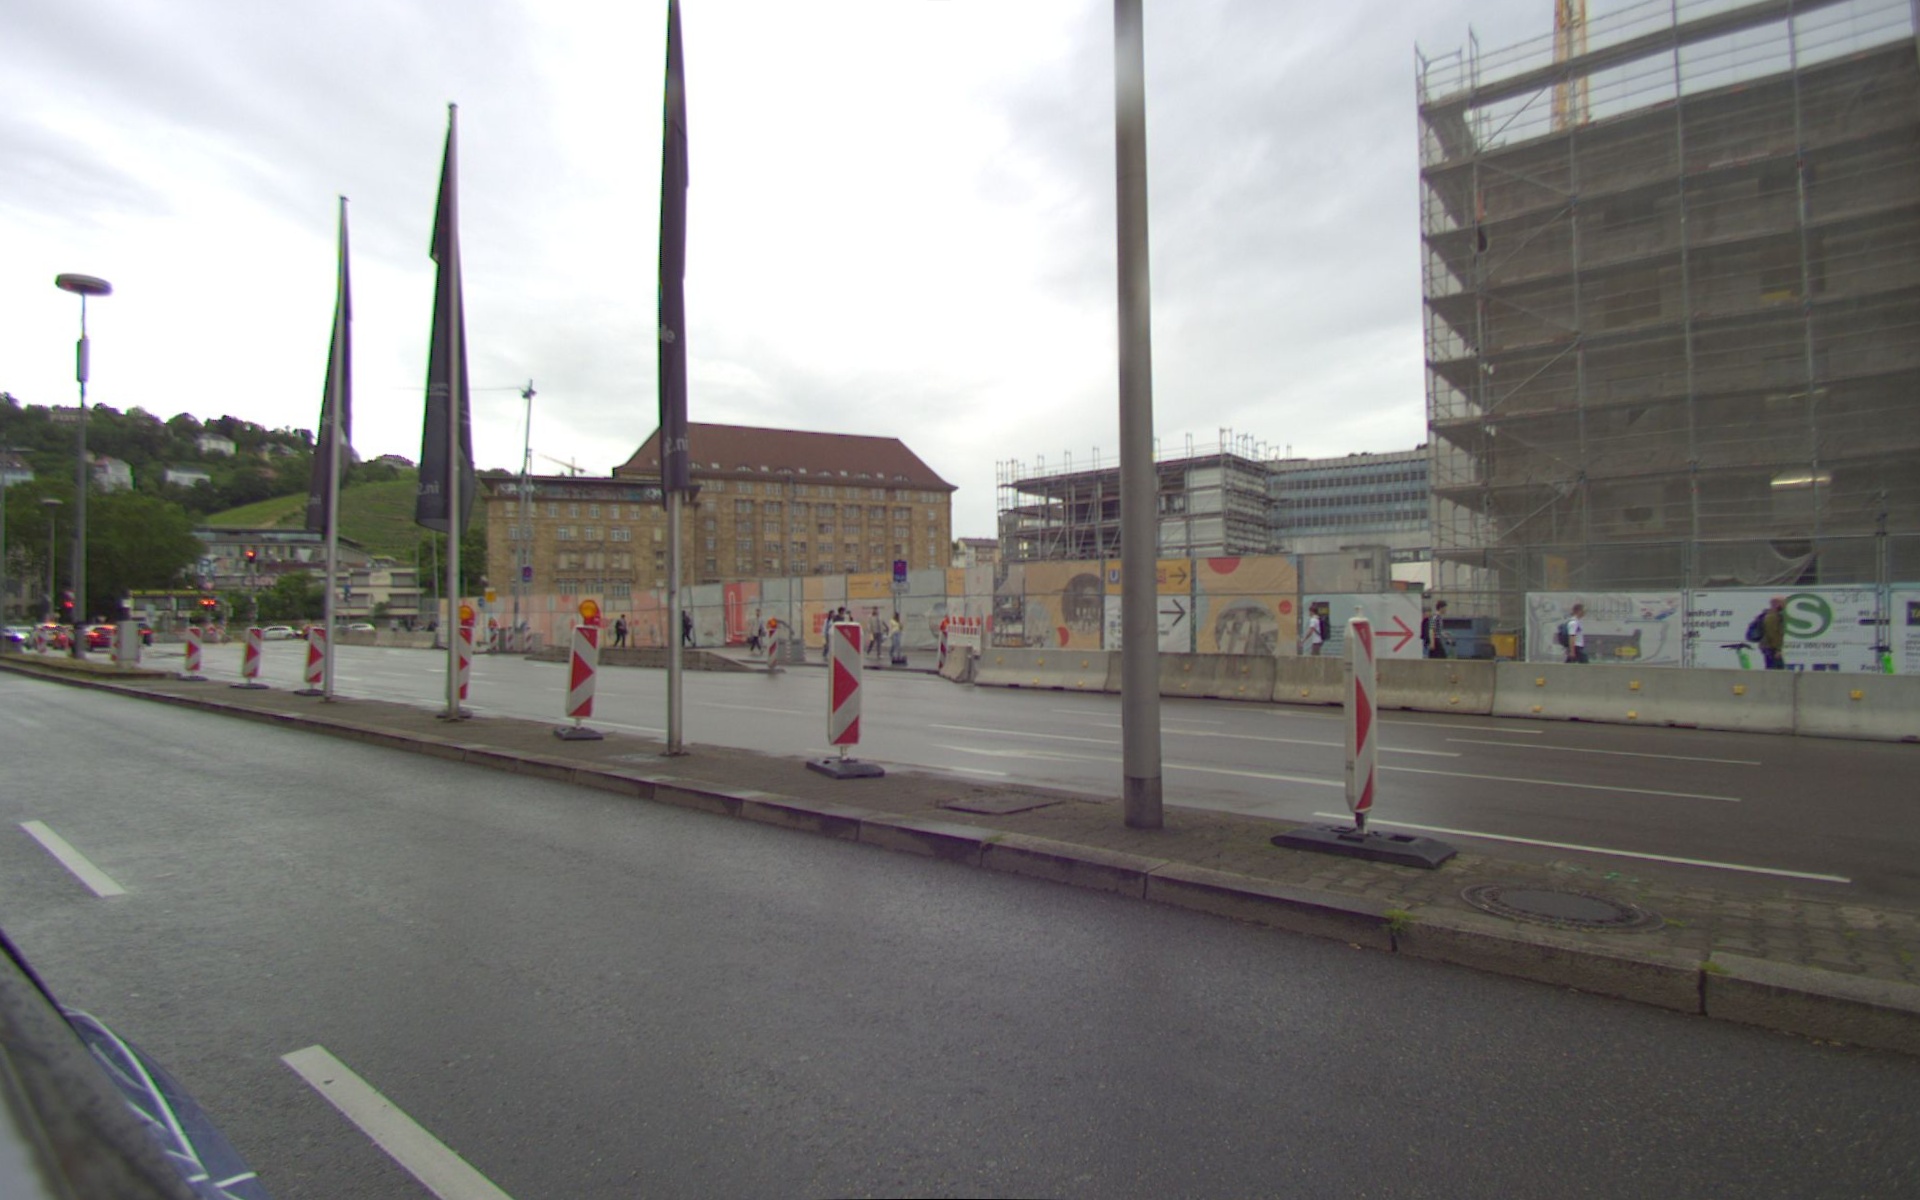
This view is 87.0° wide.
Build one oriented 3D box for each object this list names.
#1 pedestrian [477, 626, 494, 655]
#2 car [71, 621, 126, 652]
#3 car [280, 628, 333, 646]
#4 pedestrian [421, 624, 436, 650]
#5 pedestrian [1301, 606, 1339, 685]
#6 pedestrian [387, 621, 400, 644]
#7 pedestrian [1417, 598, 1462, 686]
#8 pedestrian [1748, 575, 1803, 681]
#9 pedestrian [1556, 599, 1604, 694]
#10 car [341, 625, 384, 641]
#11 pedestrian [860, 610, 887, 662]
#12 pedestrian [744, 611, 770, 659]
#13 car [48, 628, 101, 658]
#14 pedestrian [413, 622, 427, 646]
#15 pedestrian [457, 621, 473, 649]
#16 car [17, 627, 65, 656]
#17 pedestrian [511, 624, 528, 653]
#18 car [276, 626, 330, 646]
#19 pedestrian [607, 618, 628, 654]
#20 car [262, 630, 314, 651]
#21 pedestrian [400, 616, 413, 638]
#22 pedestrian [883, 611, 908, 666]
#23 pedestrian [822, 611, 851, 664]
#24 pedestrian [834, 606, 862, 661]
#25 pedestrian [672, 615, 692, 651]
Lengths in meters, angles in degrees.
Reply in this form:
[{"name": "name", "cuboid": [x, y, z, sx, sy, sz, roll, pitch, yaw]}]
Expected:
[{"name": "pedestrian", "cuboid": [-27.700, 2.369, 59.103, 0.544, 1.628, 0.706, -1, 0, 41]}, {"name": "car", "cuboid": [-48.499, 2.043, 56.944, 3.914, 1.707, 1.762, -2, -2, 41]}, {"name": "car", "cuboid": [-60.280, 3.391, 93.363, 3.934, 1.644, 2.005, 0, -2, -36]}, {"name": "pedestrian", "cuboid": [-34.652, 2.401, 66.022, 0.544, 1.628, 0.706, -1, 0, 41]}, {"name": "pedestrian", "cuboid": [8.639, 1.073, 24.268, 0.717, 1.850, 0.475, -1, 0, 41]}, {"name": "pedestrian", "cuboid": [-41.475, 2.377, 74.097, 0.705, 1.628, 0.544, -1, 0, -44]}, {"name": "pedestrian", "cuboid": [10.340, 0.894, 21.838, 0.717, 1.850, 0.579, -1, 0, 41]}, {"name": "pedestrian", "cuboid": [14.468, 0.487, 17.963, 0.717, 1.850, 0.475, -1, 0, 41]}, {"name": "pedestrian", "cuboid": [12.281, 0.904, 20.046, 0.717, 1.850, 0.475, -1, 0, 41]}, {"name": "car", "cuboid": [-66.152, 3.646, 112.081, 3.934, 1.644, 2.005, 0, -2, -36]}, {"name": "pedestrian", "cuboid": [-2.944, 1.218, 34.421, 0.704, 1.757, 0.565, -1, 0, -29]}, {"name": "pedestrian", "cuboid": [-7.833, 1.340, 39.068, 0.720, 1.850, 0.656, -1, 0, 41]}, {"name": "car", "cuboid": [-53.410, 2.571, 61.022, 3.913, 1.707, 1.763, -1, 0, 40]}, {"name": "pedestrian", "cuboid": [-37.517, 2.375, 70.296, 0.544, 1.628, 0.706, -1, 0, 41]}, {"name": "pedestrian", "cuboid": [-29.954, 2.100, 61.234, 0.544, 1.628, 0.706, -1, 0, 41]}, {"name": "car", "cuboid": [-60.026, 2.684, 66.091, 3.913, 1.707, 1.763, -1, 0, 40]}, {"name": "pedestrian", "cuboid": [-24.930, 2.181, 57.269, 0.544, 1.628, 0.706, -1, 0, 41]}, {"name": "car", "cuboid": [-58.291, 3.171, 89.837, 3.934, 1.644, 2.005, 0, -2, -36]}, {"name": "pedestrian", "cuboid": [-15.782, 1.672, 46.613, 0.544, 1.628, 0.706, -1, 0, 41]}, {"name": "car", "cuboid": [-68.543, 4.116, 103.269, 4.136, 1.871, 1.833, -1, 0, -44]}, {"name": "pedestrian", "cuboid": [-40.852, 1.999, 74.697, 0.705, 1.628, 0.544, -1, 0, -44]}, {"name": "pedestrian", "cuboid": [-2.214, 1.308, 34.583, 0.651, 1.850, 0.557, -1, 0, -29]}, {"name": "pedestrian", "cuboid": [-4.133, 1.237, 33.751, 0.704, 1.746, 0.719, -1, 0, -31]}, {"name": "pedestrian", "cuboid": [-3.846, 1.127, 34.656, 0.704, 1.850, 0.719, -1, 0, -31]}, {"name": "pedestrian", "cuboid": [-12.910, 1.530, 47.027, 0.544, 1.628, 0.706, -1, 0, 41]}]
